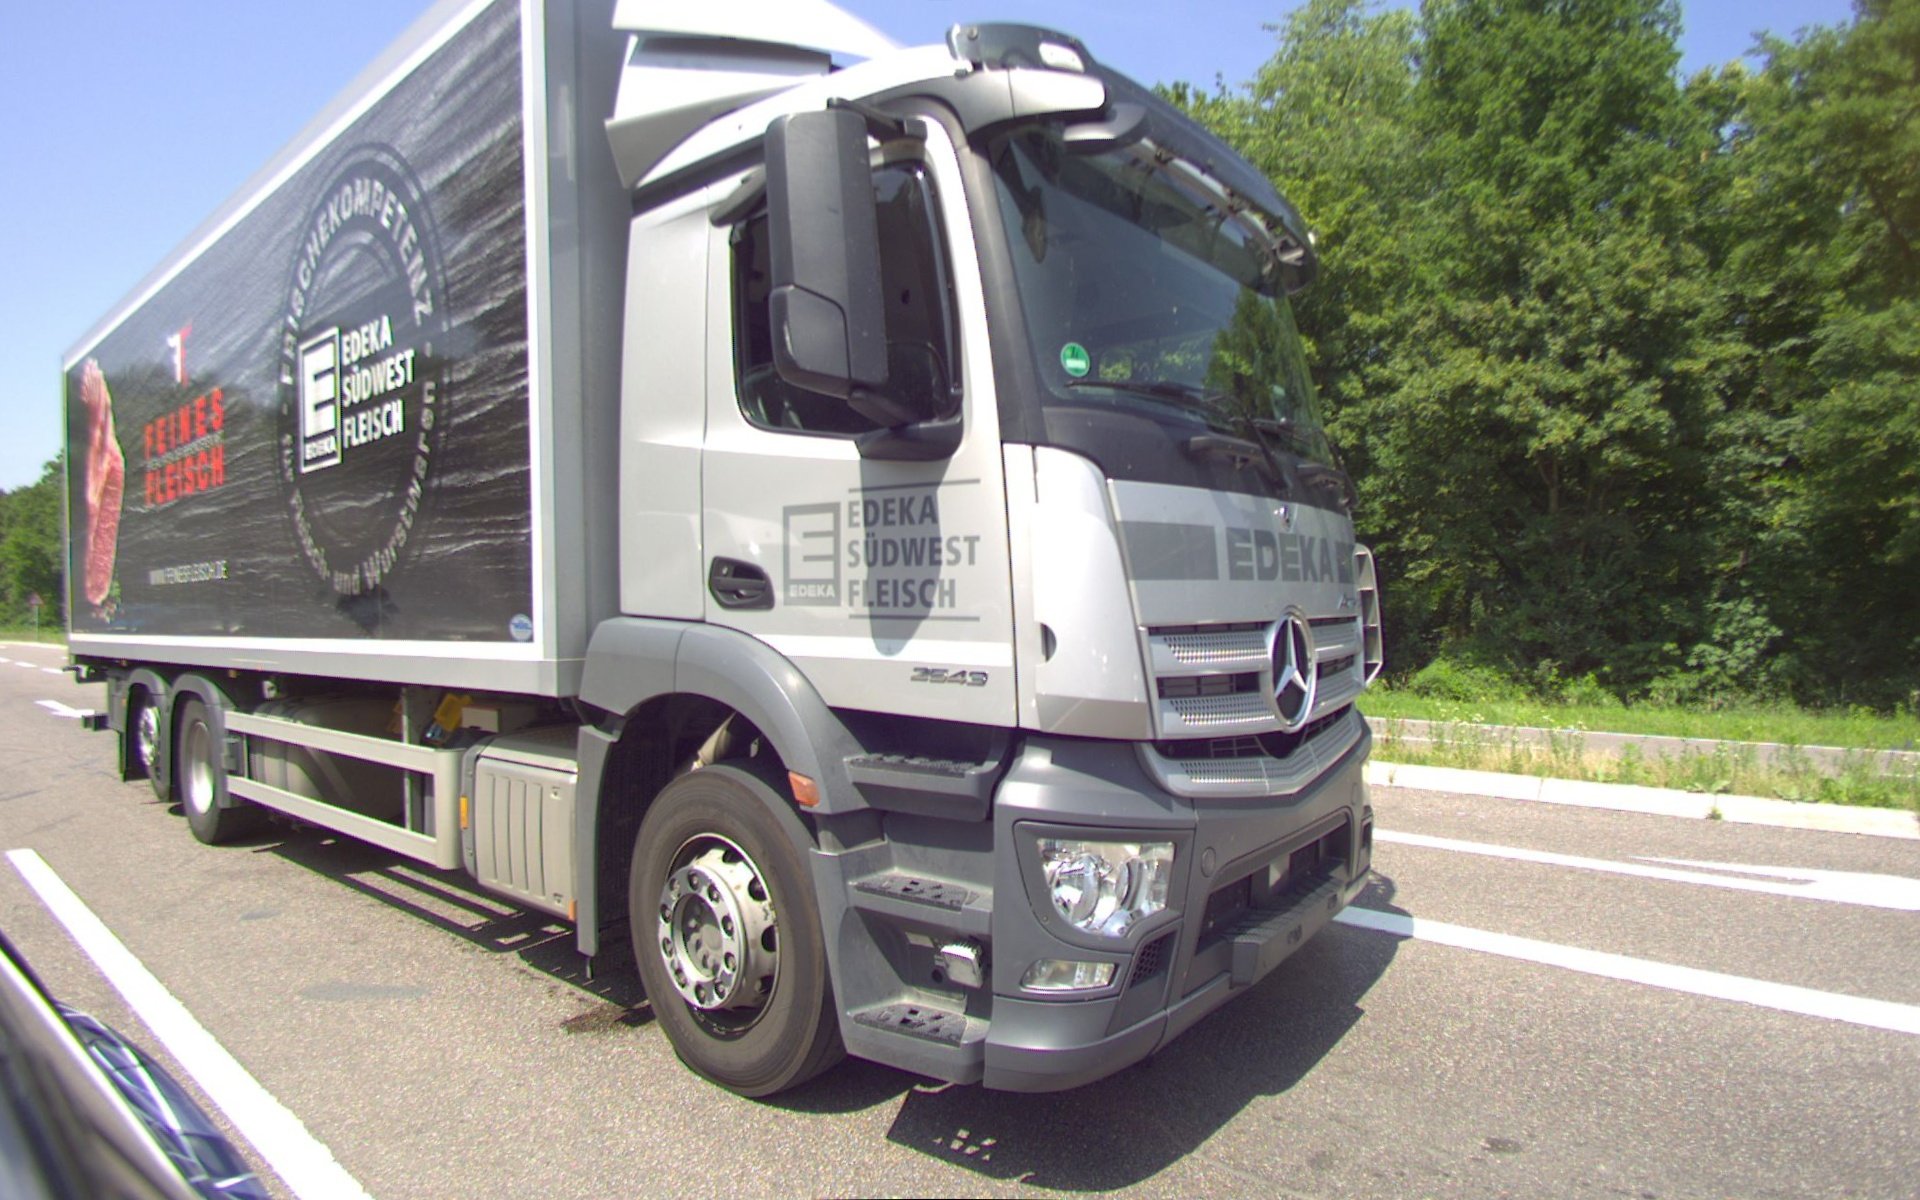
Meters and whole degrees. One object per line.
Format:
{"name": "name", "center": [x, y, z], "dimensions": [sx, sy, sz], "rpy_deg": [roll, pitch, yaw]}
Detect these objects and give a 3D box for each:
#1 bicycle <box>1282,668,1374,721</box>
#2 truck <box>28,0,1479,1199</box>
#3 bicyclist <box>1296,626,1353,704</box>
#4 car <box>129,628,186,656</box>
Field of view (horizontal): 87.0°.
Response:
{"name": "bicycle", "center": [7.144, 1.814, 19.698], "dimensions": [0.558, 0.930, 1.608], "rpy_deg": [2, -2, -40]}
{"name": "truck", "center": [-3.170, -0.515, 6.589], "dimensions": [11.309, 3.914, 2.719], "rpy_deg": [-1, -1, 39]}
{"name": "bicyclist", "center": [7.107, 1.248, 19.752], "dimensions": [0.651, 1.476, 0.811], "rpy_deg": [2, -2, -40]}
{"name": "car", "center": [-48.847, 2.527, 61.560], "dimensions": [3.997, 1.564, 1.973], "rpy_deg": [-1, 0, 40]}
